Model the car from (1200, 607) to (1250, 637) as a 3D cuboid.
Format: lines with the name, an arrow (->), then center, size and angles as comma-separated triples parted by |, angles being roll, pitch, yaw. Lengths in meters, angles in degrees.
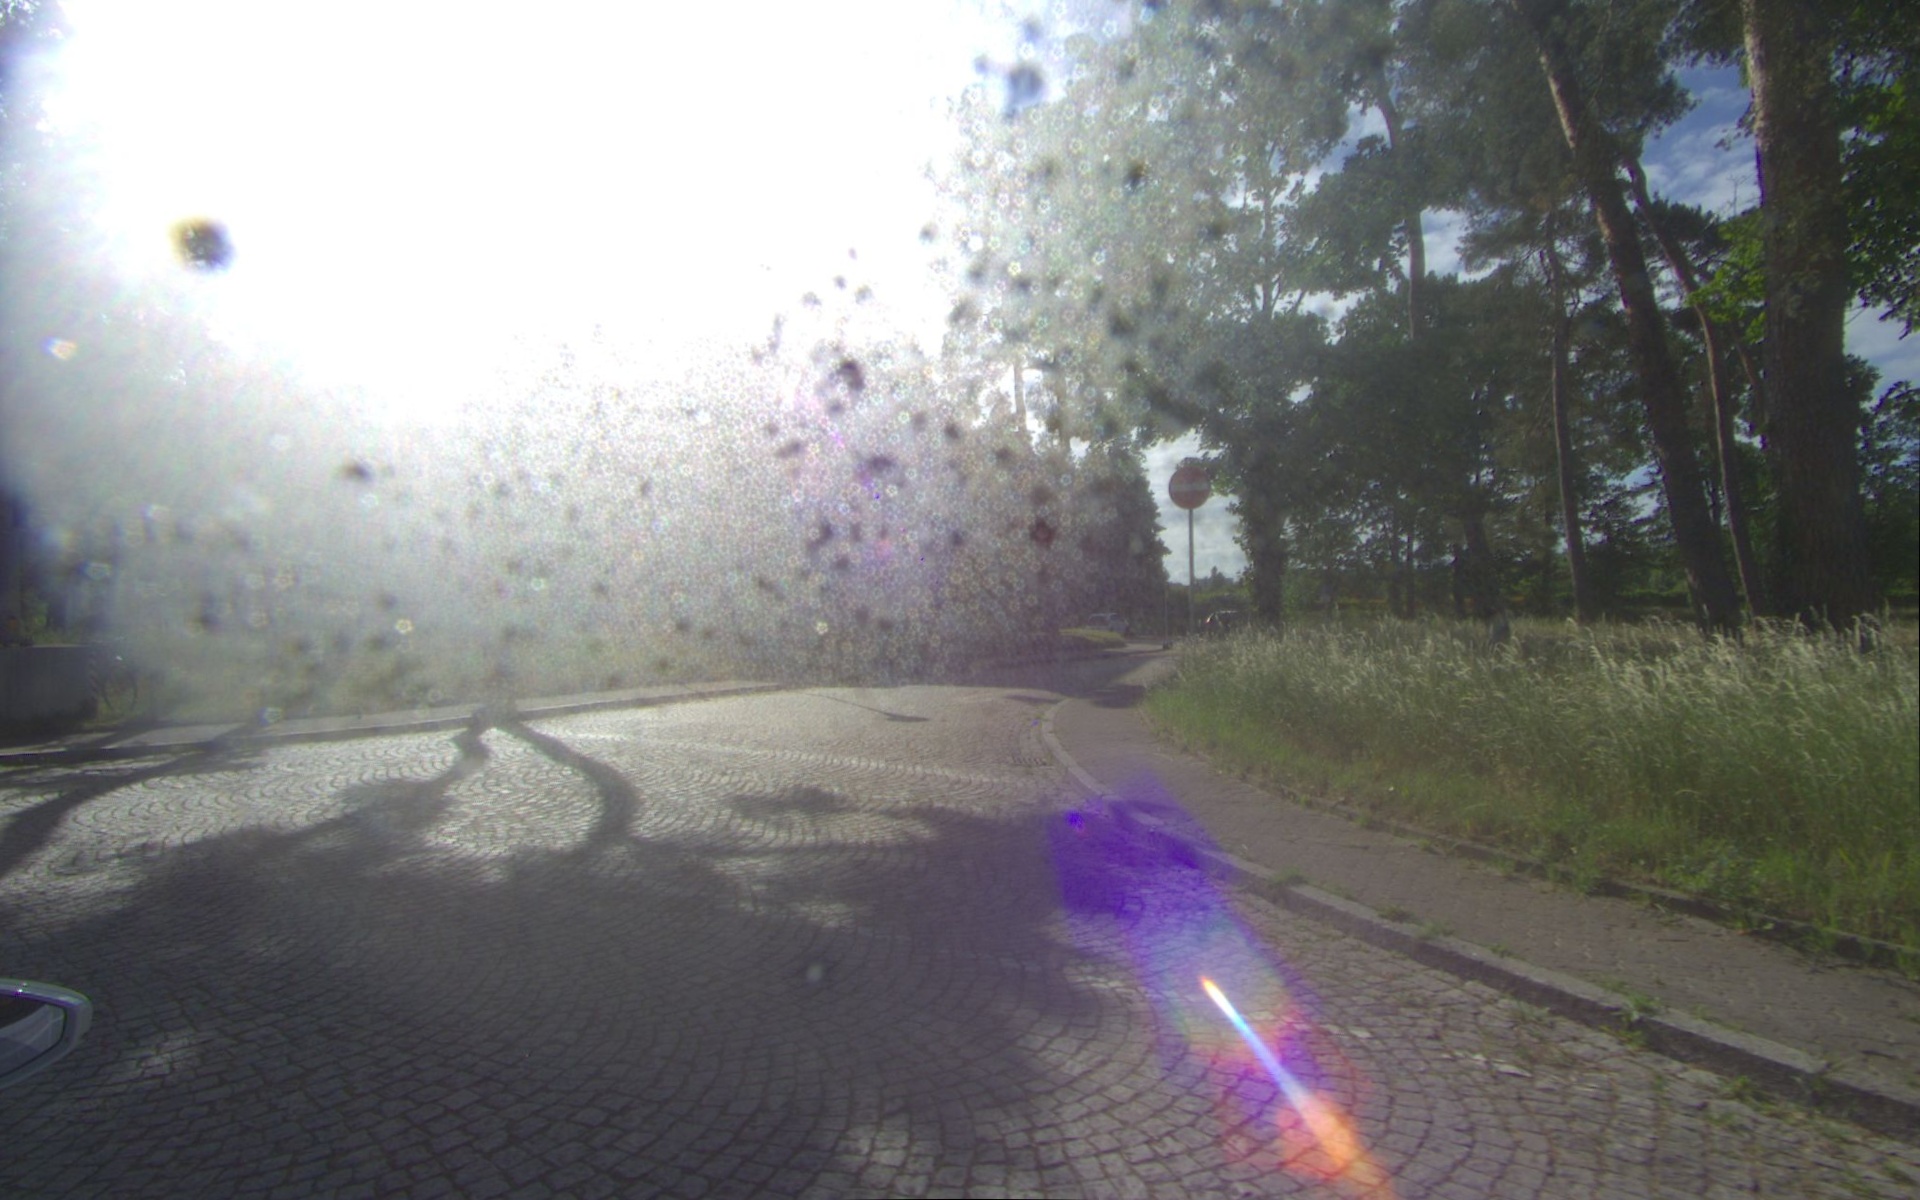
car -> 14.737, 1.203, 55.614 | 1.827, 1.620, 3.984 | 0, 0, 28

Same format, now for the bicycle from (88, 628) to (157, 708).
bicycle -> -12.009, 0.953, 14.347 | 1.158, 1.094, 0.464 | -1, 0, 35

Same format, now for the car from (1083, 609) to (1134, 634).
car -> 8.988, 1.264, 60.184 | 1.818, 1.483, 3.984 | 0, 0, 28
